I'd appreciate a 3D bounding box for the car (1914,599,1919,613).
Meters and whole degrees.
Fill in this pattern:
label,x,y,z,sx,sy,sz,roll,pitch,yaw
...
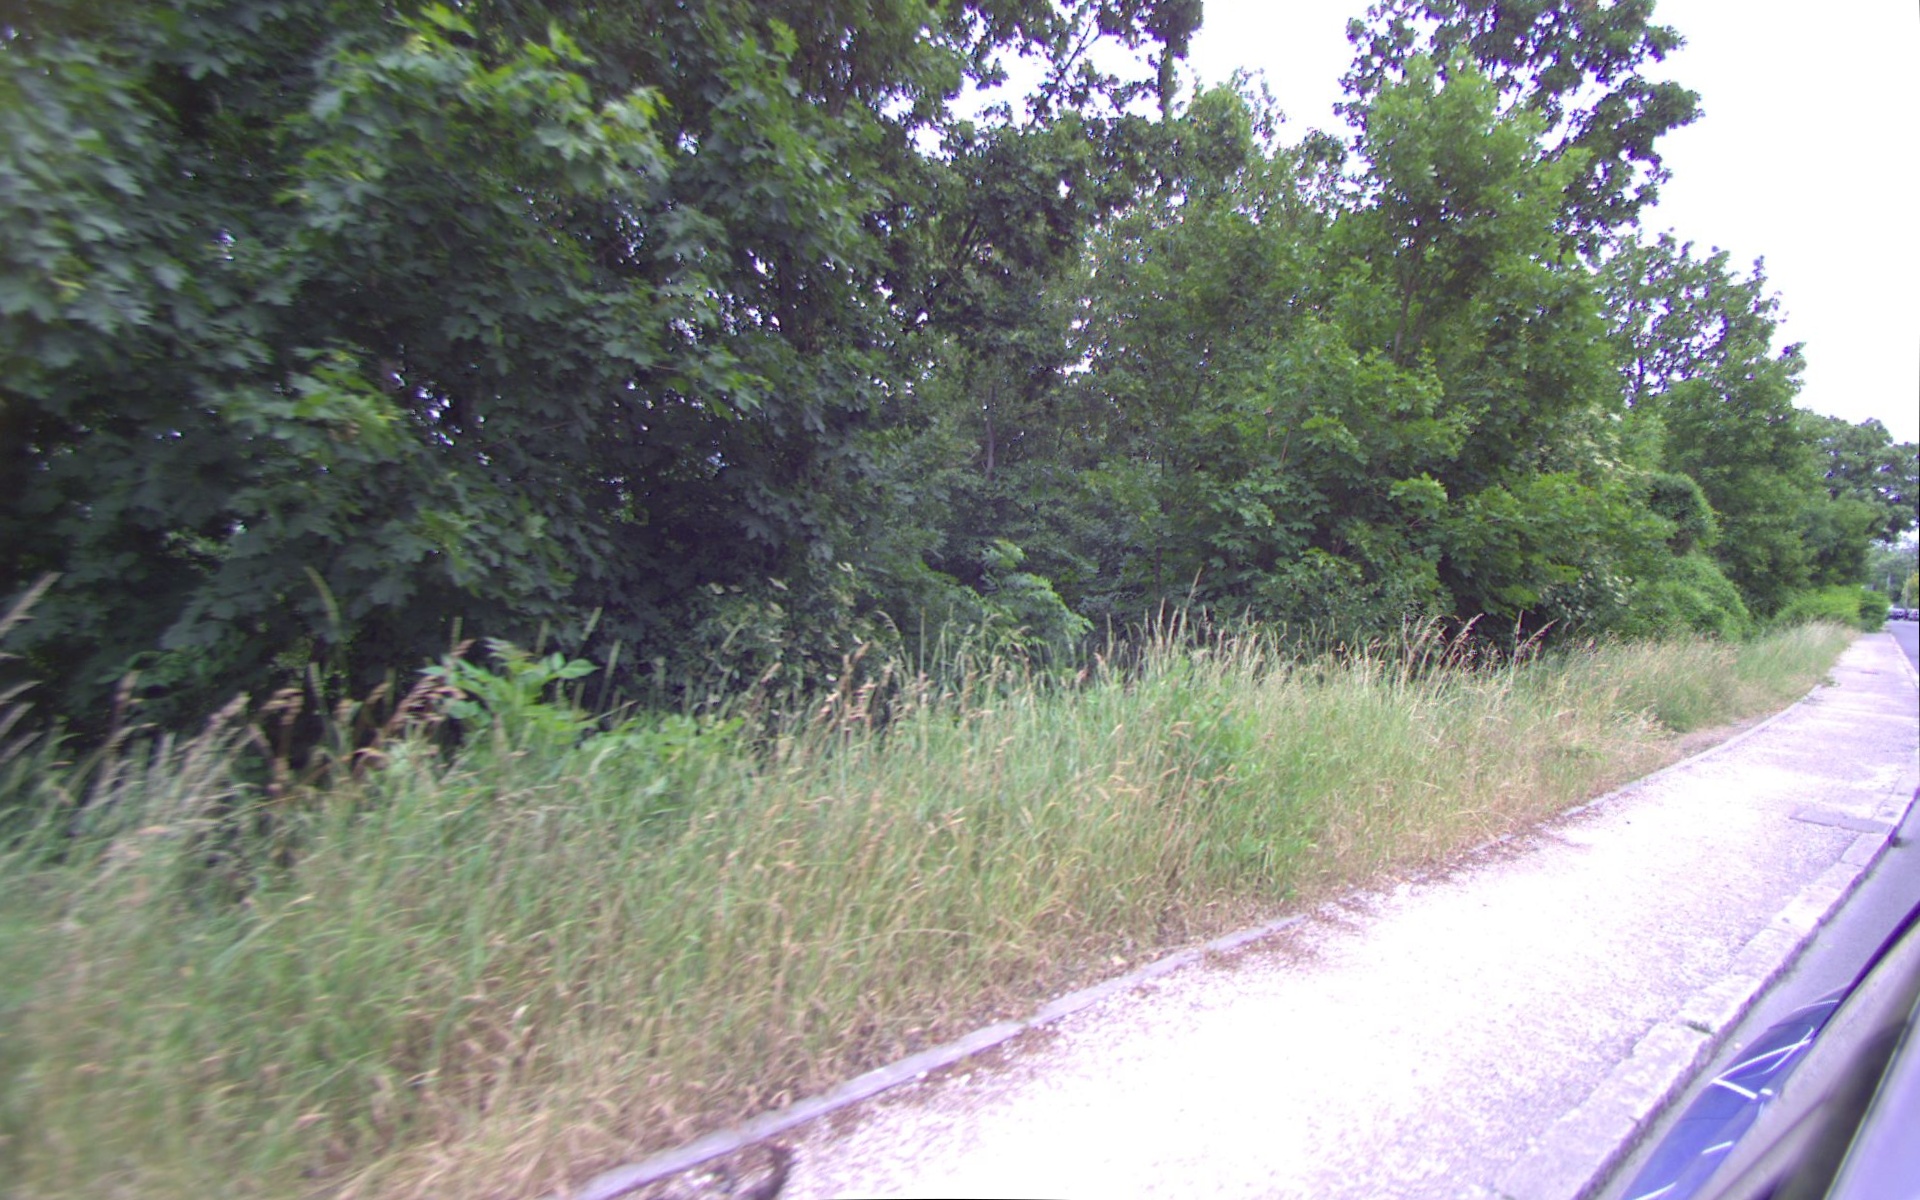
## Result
label,x,y,z,sx,sy,sz,roll,pitch,yaw
car,123.170,0.787,129.104,1.915,1.701,4.133,1,0,41
